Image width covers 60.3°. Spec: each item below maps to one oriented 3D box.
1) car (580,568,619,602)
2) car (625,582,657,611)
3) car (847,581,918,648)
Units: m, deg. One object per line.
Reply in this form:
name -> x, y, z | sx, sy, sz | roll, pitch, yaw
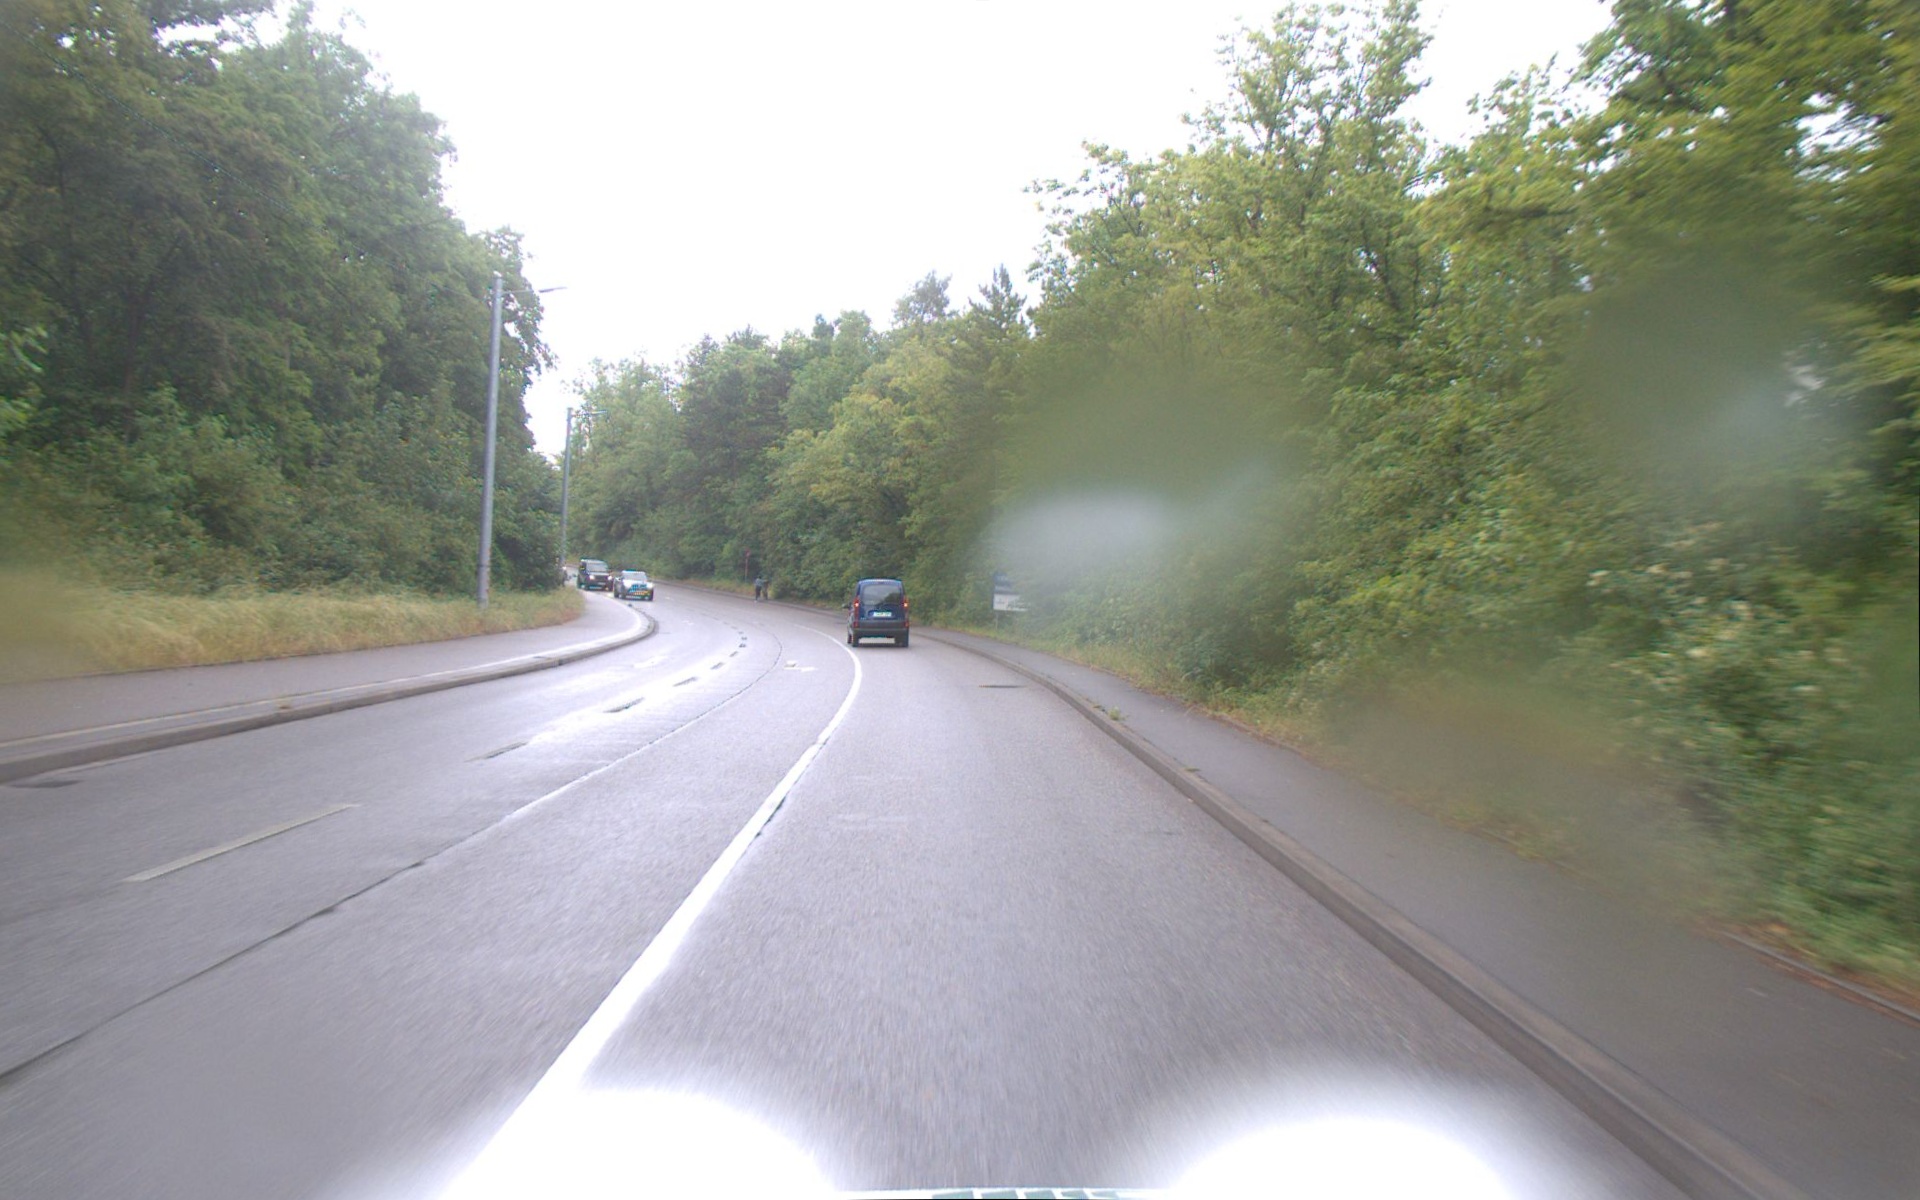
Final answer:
car -> -24.527, -1.012, 112.429 | 1.802, 1.876, 4.677 | 2, -5, -22
car -> -19.292, -0.233, 99.819 | 1.777, 1.622, 4.504 | 1, 0, -12
car -> -2.265, 0.374, 47.334 | 1.792, 1.825, 3.995 | 0, 1, -6
